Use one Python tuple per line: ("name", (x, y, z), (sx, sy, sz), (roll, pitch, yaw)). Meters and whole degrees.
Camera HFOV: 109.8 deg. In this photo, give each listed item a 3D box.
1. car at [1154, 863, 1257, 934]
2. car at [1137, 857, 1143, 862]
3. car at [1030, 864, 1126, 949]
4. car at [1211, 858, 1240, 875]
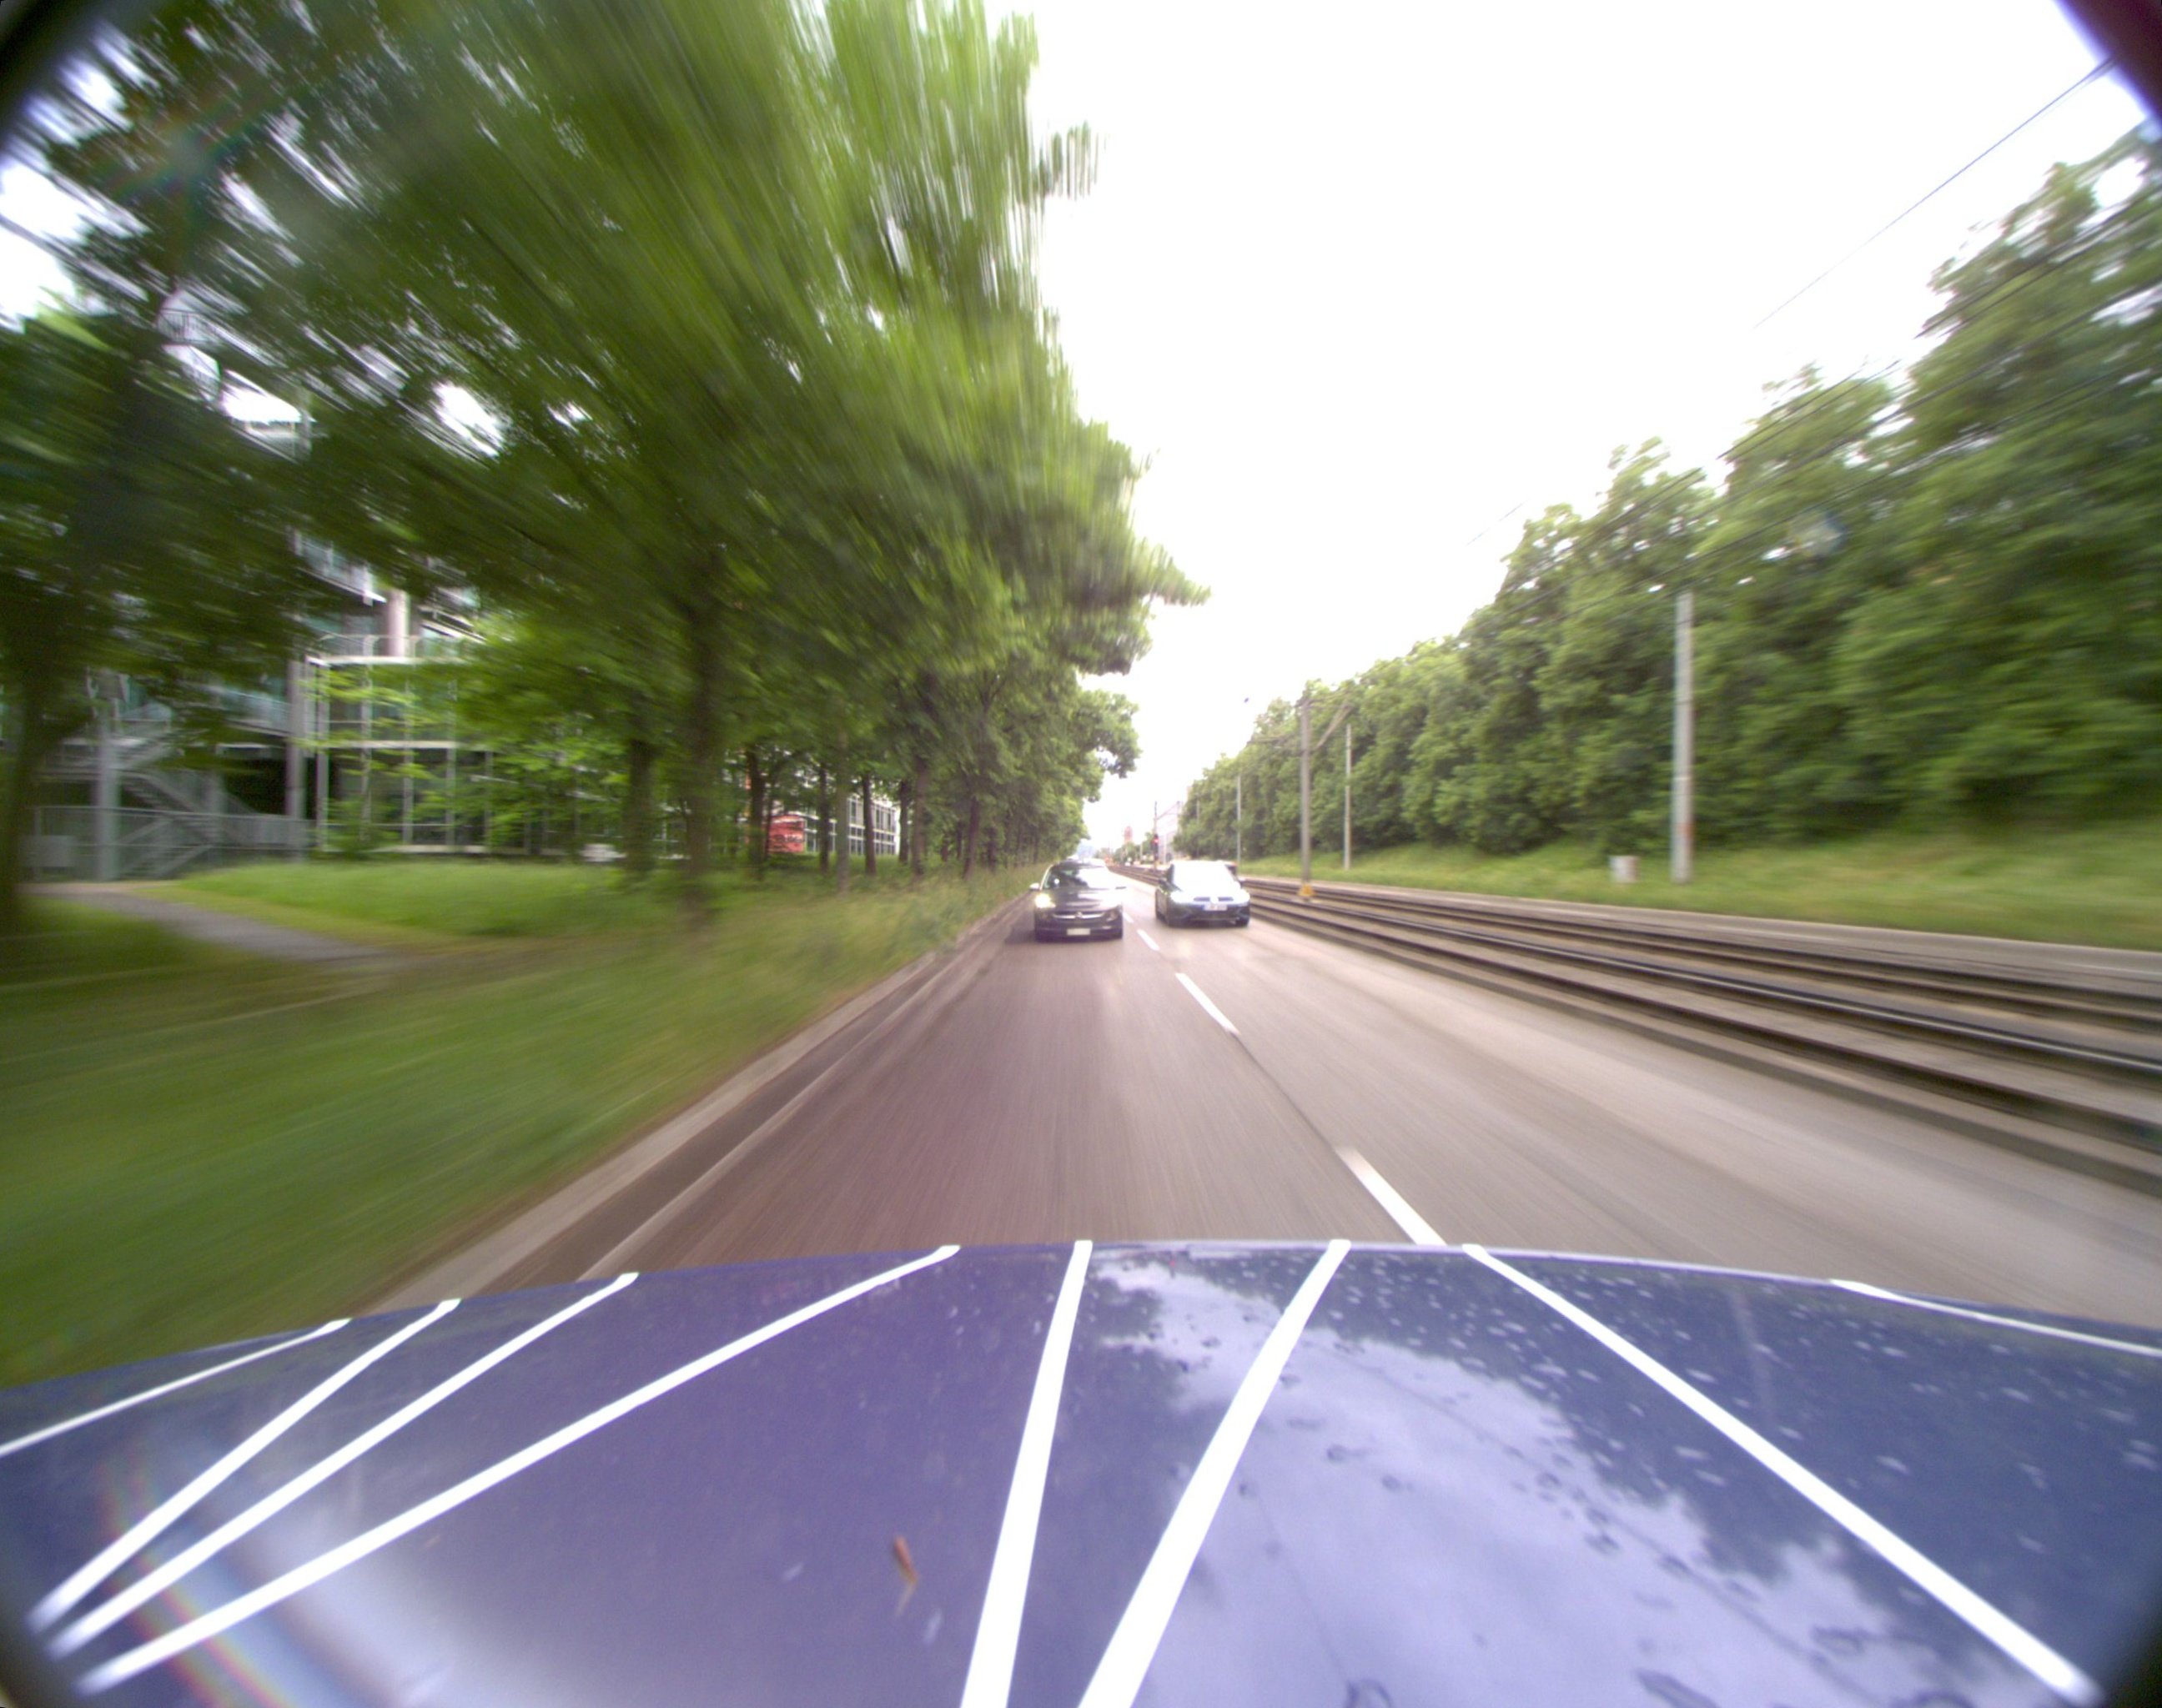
("car", (2.794, 0.961, 17.872), (1.771, 1.439, 3.833), (0, 0, 0))
("car", (17.502, 1.506, 224.838), (1.480, 1.427, 3.909), (2, 0, 0))
("car", (-0.034, 0.991, 16.046), (1.698, 1.439, 4.420), (-2, 0, 1))
("car", (13.052, 1.119, 68.738), (1.674, 1.434, 4.026), (2, 0, -1))
